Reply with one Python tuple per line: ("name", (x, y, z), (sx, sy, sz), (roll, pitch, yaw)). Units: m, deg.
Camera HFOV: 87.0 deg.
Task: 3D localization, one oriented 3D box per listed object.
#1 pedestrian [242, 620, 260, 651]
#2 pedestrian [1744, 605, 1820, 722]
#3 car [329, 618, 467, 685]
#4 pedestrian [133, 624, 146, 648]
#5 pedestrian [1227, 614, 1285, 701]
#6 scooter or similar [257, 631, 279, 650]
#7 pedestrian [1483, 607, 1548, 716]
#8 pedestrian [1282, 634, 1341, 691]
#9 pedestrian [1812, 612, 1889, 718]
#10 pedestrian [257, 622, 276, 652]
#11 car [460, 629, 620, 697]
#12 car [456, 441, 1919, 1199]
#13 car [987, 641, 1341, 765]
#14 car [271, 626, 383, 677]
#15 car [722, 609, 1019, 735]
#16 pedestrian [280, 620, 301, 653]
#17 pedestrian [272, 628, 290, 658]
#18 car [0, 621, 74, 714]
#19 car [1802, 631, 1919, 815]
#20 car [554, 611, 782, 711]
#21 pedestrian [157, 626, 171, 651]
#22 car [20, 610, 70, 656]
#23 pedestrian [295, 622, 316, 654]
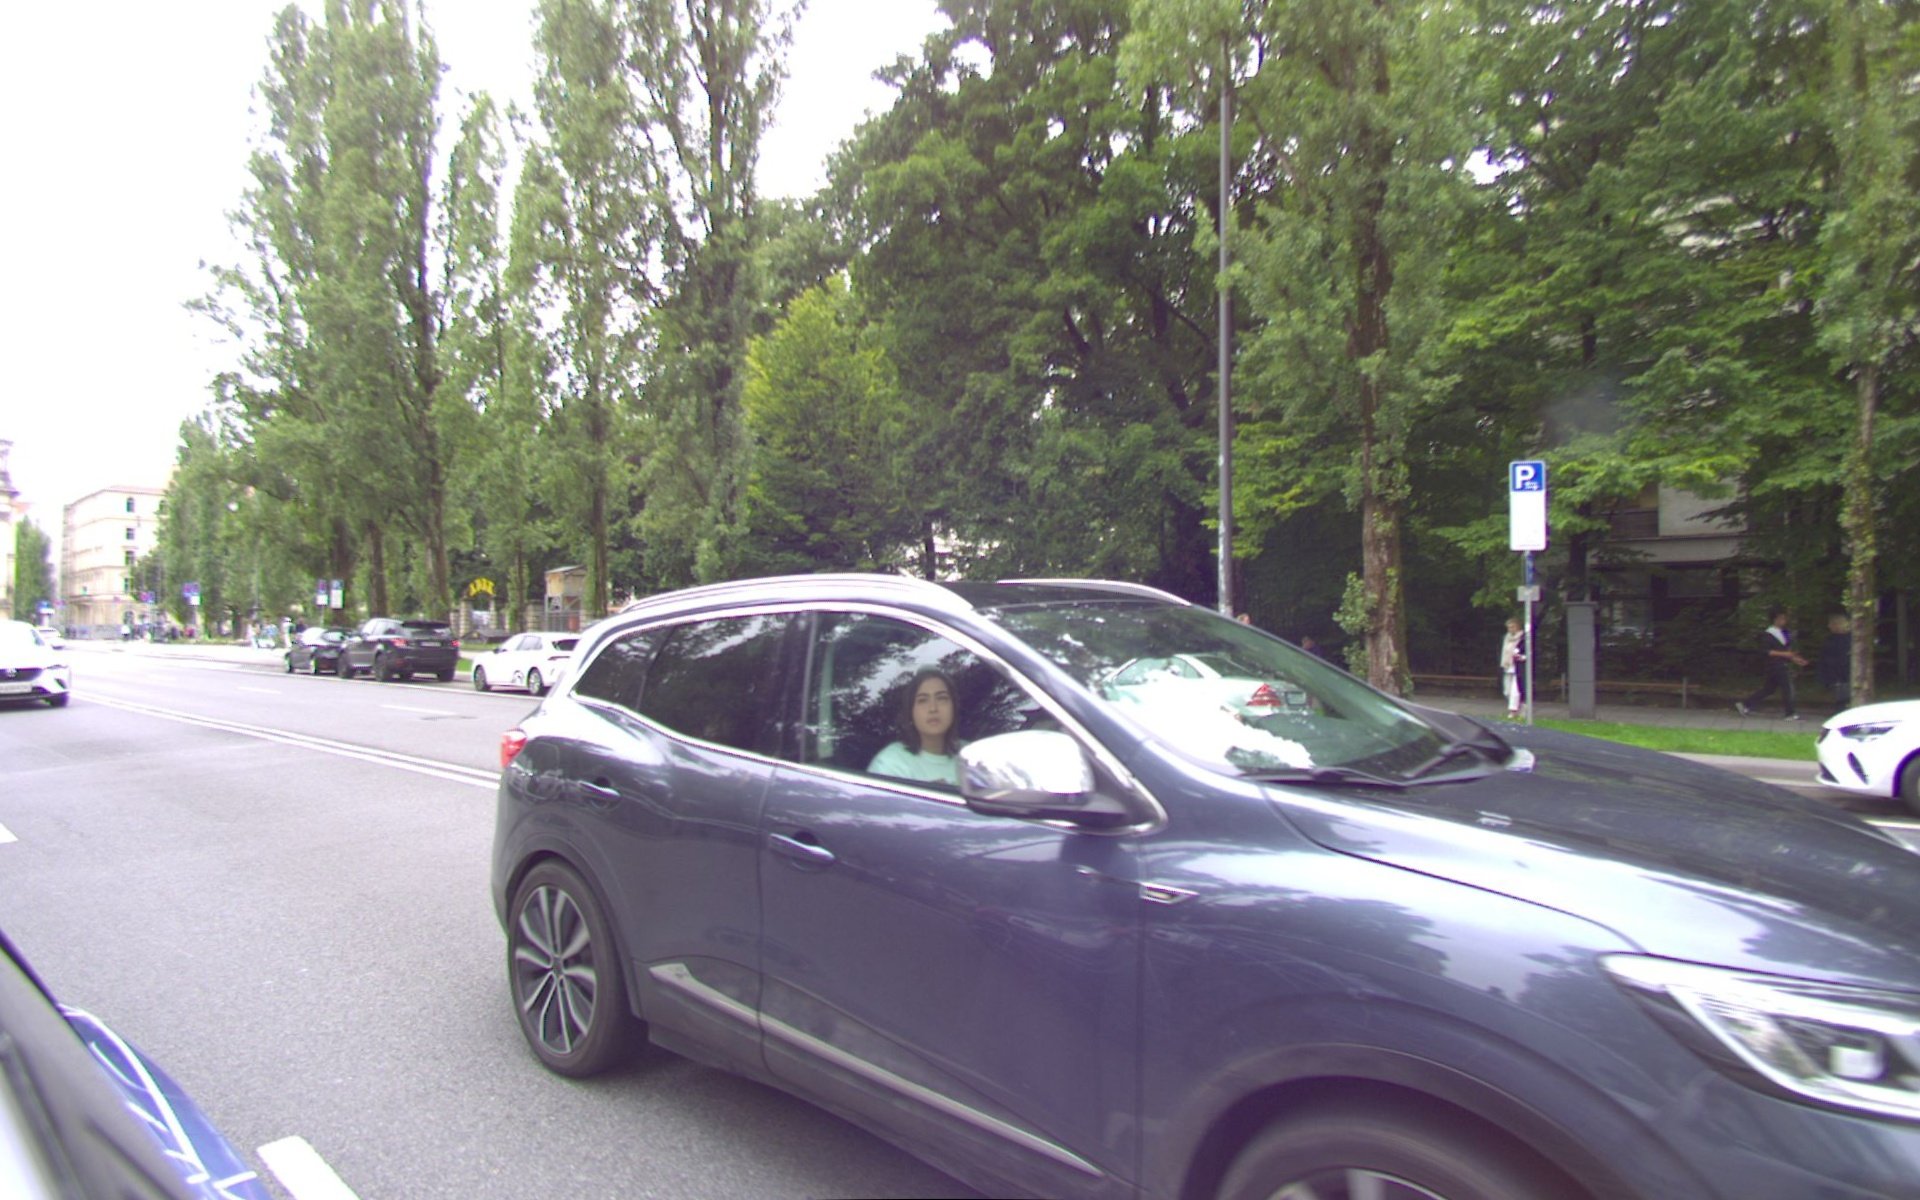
("pedestrian", (-40.451, 2.025, 57.727), (0.907, 1.760, 0.623), (-2, -2, 40))
("pedestrian", (13.037, 0.976, 16.056), (0.889, 1.785, 0.729), (-1, -1, 41))
("car", (-16.451, 1.475, 29.536), (4.798, 1.800, 2.024), (-2, -4, 42))
("pedestrian", (-58.974, 2.571, 72.761), (0.581, 1.744, 0.527), (-1, -2, 29))
("pedestrian", (6.167, 1.176, 21.101), (0.956, 1.755, 0.659), (-2, -2, 41))
("scooter or similar", (-45.290, 2.644, 66.215), (1.413, 1.187, 0.738), (-2, -3, 36))
("pedestrian", (8.837, 0.960, 16.093), (0.751, 1.677, 0.730), (-2, -2, 41))
("pedestrian", (7.729, 1.357, 22.260), (0.922, 1.187, 0.957), (-1, 0, 40))
("pedestrian", (14.205, 1.012, 16.155), (0.881, 1.611, 0.729), (-1, -1, 41))
("pedestrian", (-40.022, 2.111, 58.396), (0.885, 1.713, 0.681), (-2, -2, 40))
("car", (-9.991, 1.453, 23.960), (4.269, 1.470, 1.687), (-1, -4, 40))
("car", (0.409, 0.654, 2.887), (4.182, 1.598, 1.817), (-2, -1, 40))
("car", (2.577, 1.252, 13.308), (4.230, 1.344, 1.808), (-2, -4, 40))
("car", (-21.129, 1.709, 33.729), (4.386, 1.596, 1.924), (-2, -4, 41))
("car", (-1.582, 1.129, 16.672), (4.890, 1.781, 1.921), (-1, -4, 39))
("pedestrian", (-37.943, 2.085, 57.371), (1.092, 1.847, 0.702), (-2, -2, 40))
("pedestrian", (-39.509, 2.515, 58.898), (0.910, 1.729, 0.653), (-2, -2, 40))
("car", (-17.373, 1.171, 18.048), (4.007, 1.536, 1.885), (-2, -2, 42))
("car", (9.333, 1.004, 7.855), (4.229, 1.463, 1.753), (-1, -4, 39))
("car", (-6.094, 1.210, 20.745), (5.176, 1.803, 1.890), (-1, -5, 40))
("pedestrian", (-55.054, 2.654, 70.005), (0.581, 1.744, 0.527), (-1, -2, 29))
("car", (-60.677, 2.186, 67.083), (4.477, 1.342, 1.775), (27, 13, 36))
("pedestrian", (-37.481, 2.161, 57.981), (1.092, 1.786, 0.702), (-2, -2, 40))
